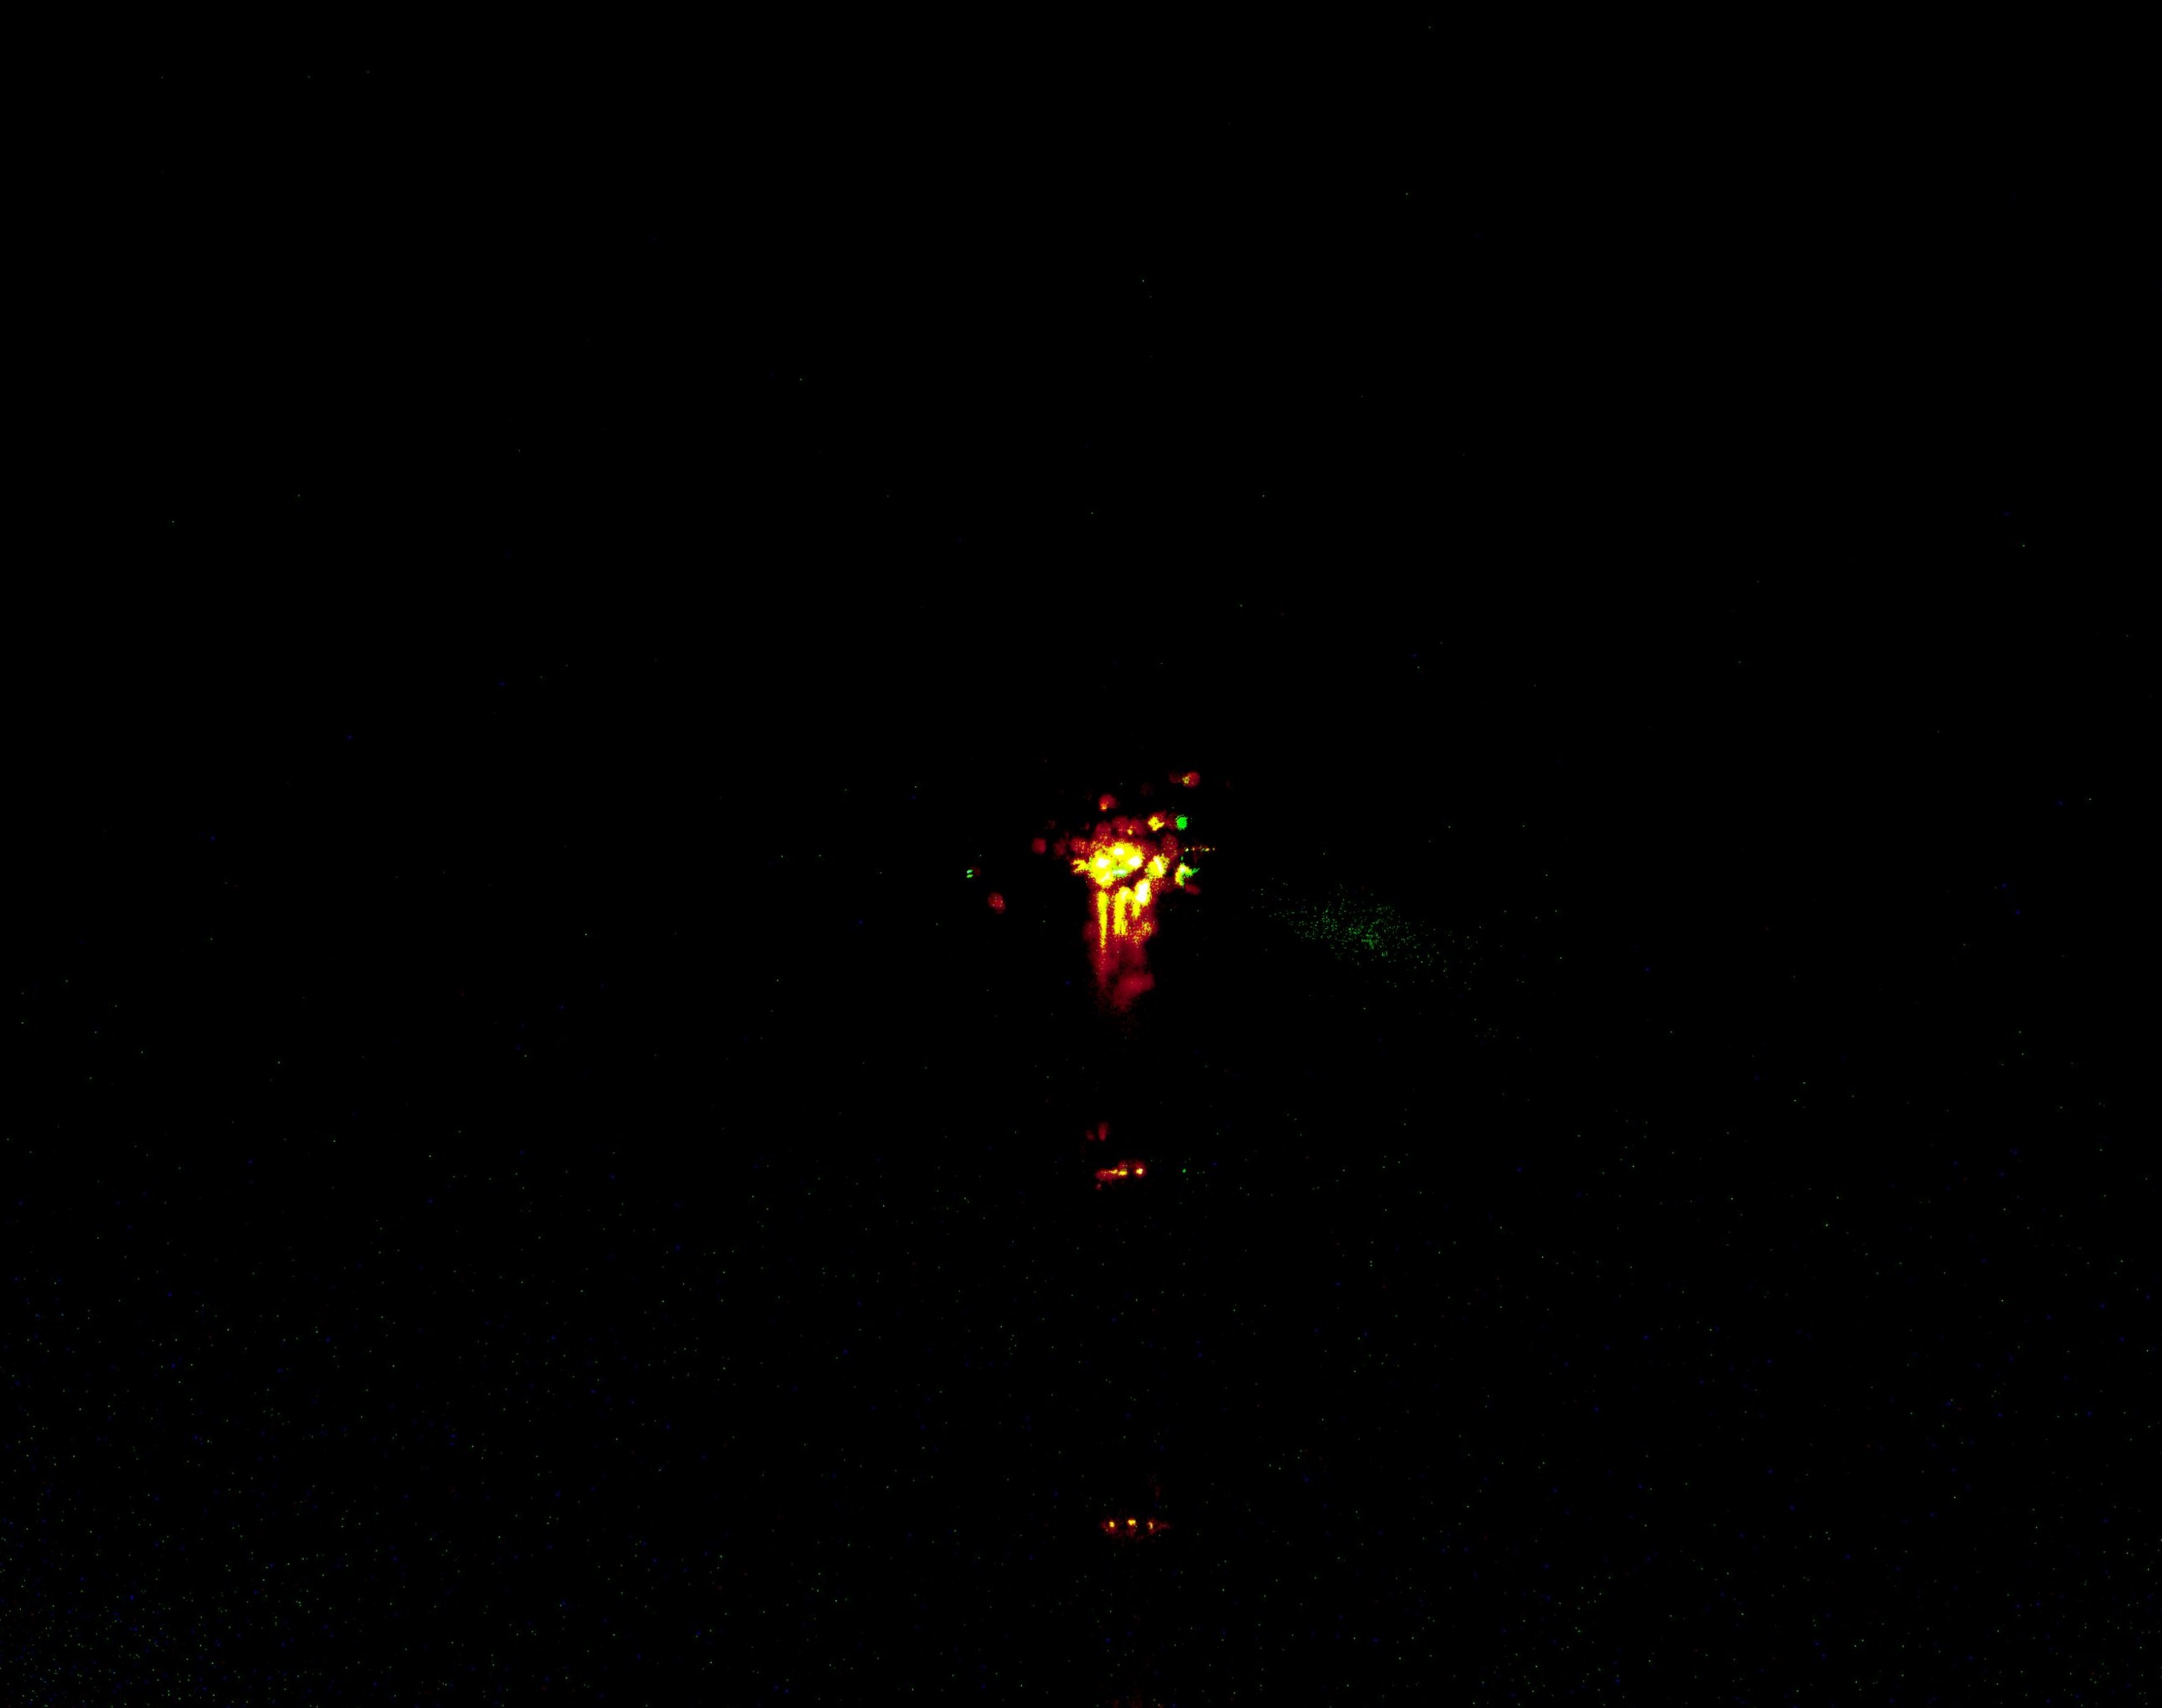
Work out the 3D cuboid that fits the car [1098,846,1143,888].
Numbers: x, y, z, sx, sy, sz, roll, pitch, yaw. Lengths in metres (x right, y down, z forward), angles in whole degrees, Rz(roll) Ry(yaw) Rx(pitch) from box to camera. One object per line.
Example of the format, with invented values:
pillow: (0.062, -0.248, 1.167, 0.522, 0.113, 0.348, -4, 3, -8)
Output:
car: (1.708, 0.522, 35.035, 1.794, 1.628, 3.618, -2, 0, 3)
